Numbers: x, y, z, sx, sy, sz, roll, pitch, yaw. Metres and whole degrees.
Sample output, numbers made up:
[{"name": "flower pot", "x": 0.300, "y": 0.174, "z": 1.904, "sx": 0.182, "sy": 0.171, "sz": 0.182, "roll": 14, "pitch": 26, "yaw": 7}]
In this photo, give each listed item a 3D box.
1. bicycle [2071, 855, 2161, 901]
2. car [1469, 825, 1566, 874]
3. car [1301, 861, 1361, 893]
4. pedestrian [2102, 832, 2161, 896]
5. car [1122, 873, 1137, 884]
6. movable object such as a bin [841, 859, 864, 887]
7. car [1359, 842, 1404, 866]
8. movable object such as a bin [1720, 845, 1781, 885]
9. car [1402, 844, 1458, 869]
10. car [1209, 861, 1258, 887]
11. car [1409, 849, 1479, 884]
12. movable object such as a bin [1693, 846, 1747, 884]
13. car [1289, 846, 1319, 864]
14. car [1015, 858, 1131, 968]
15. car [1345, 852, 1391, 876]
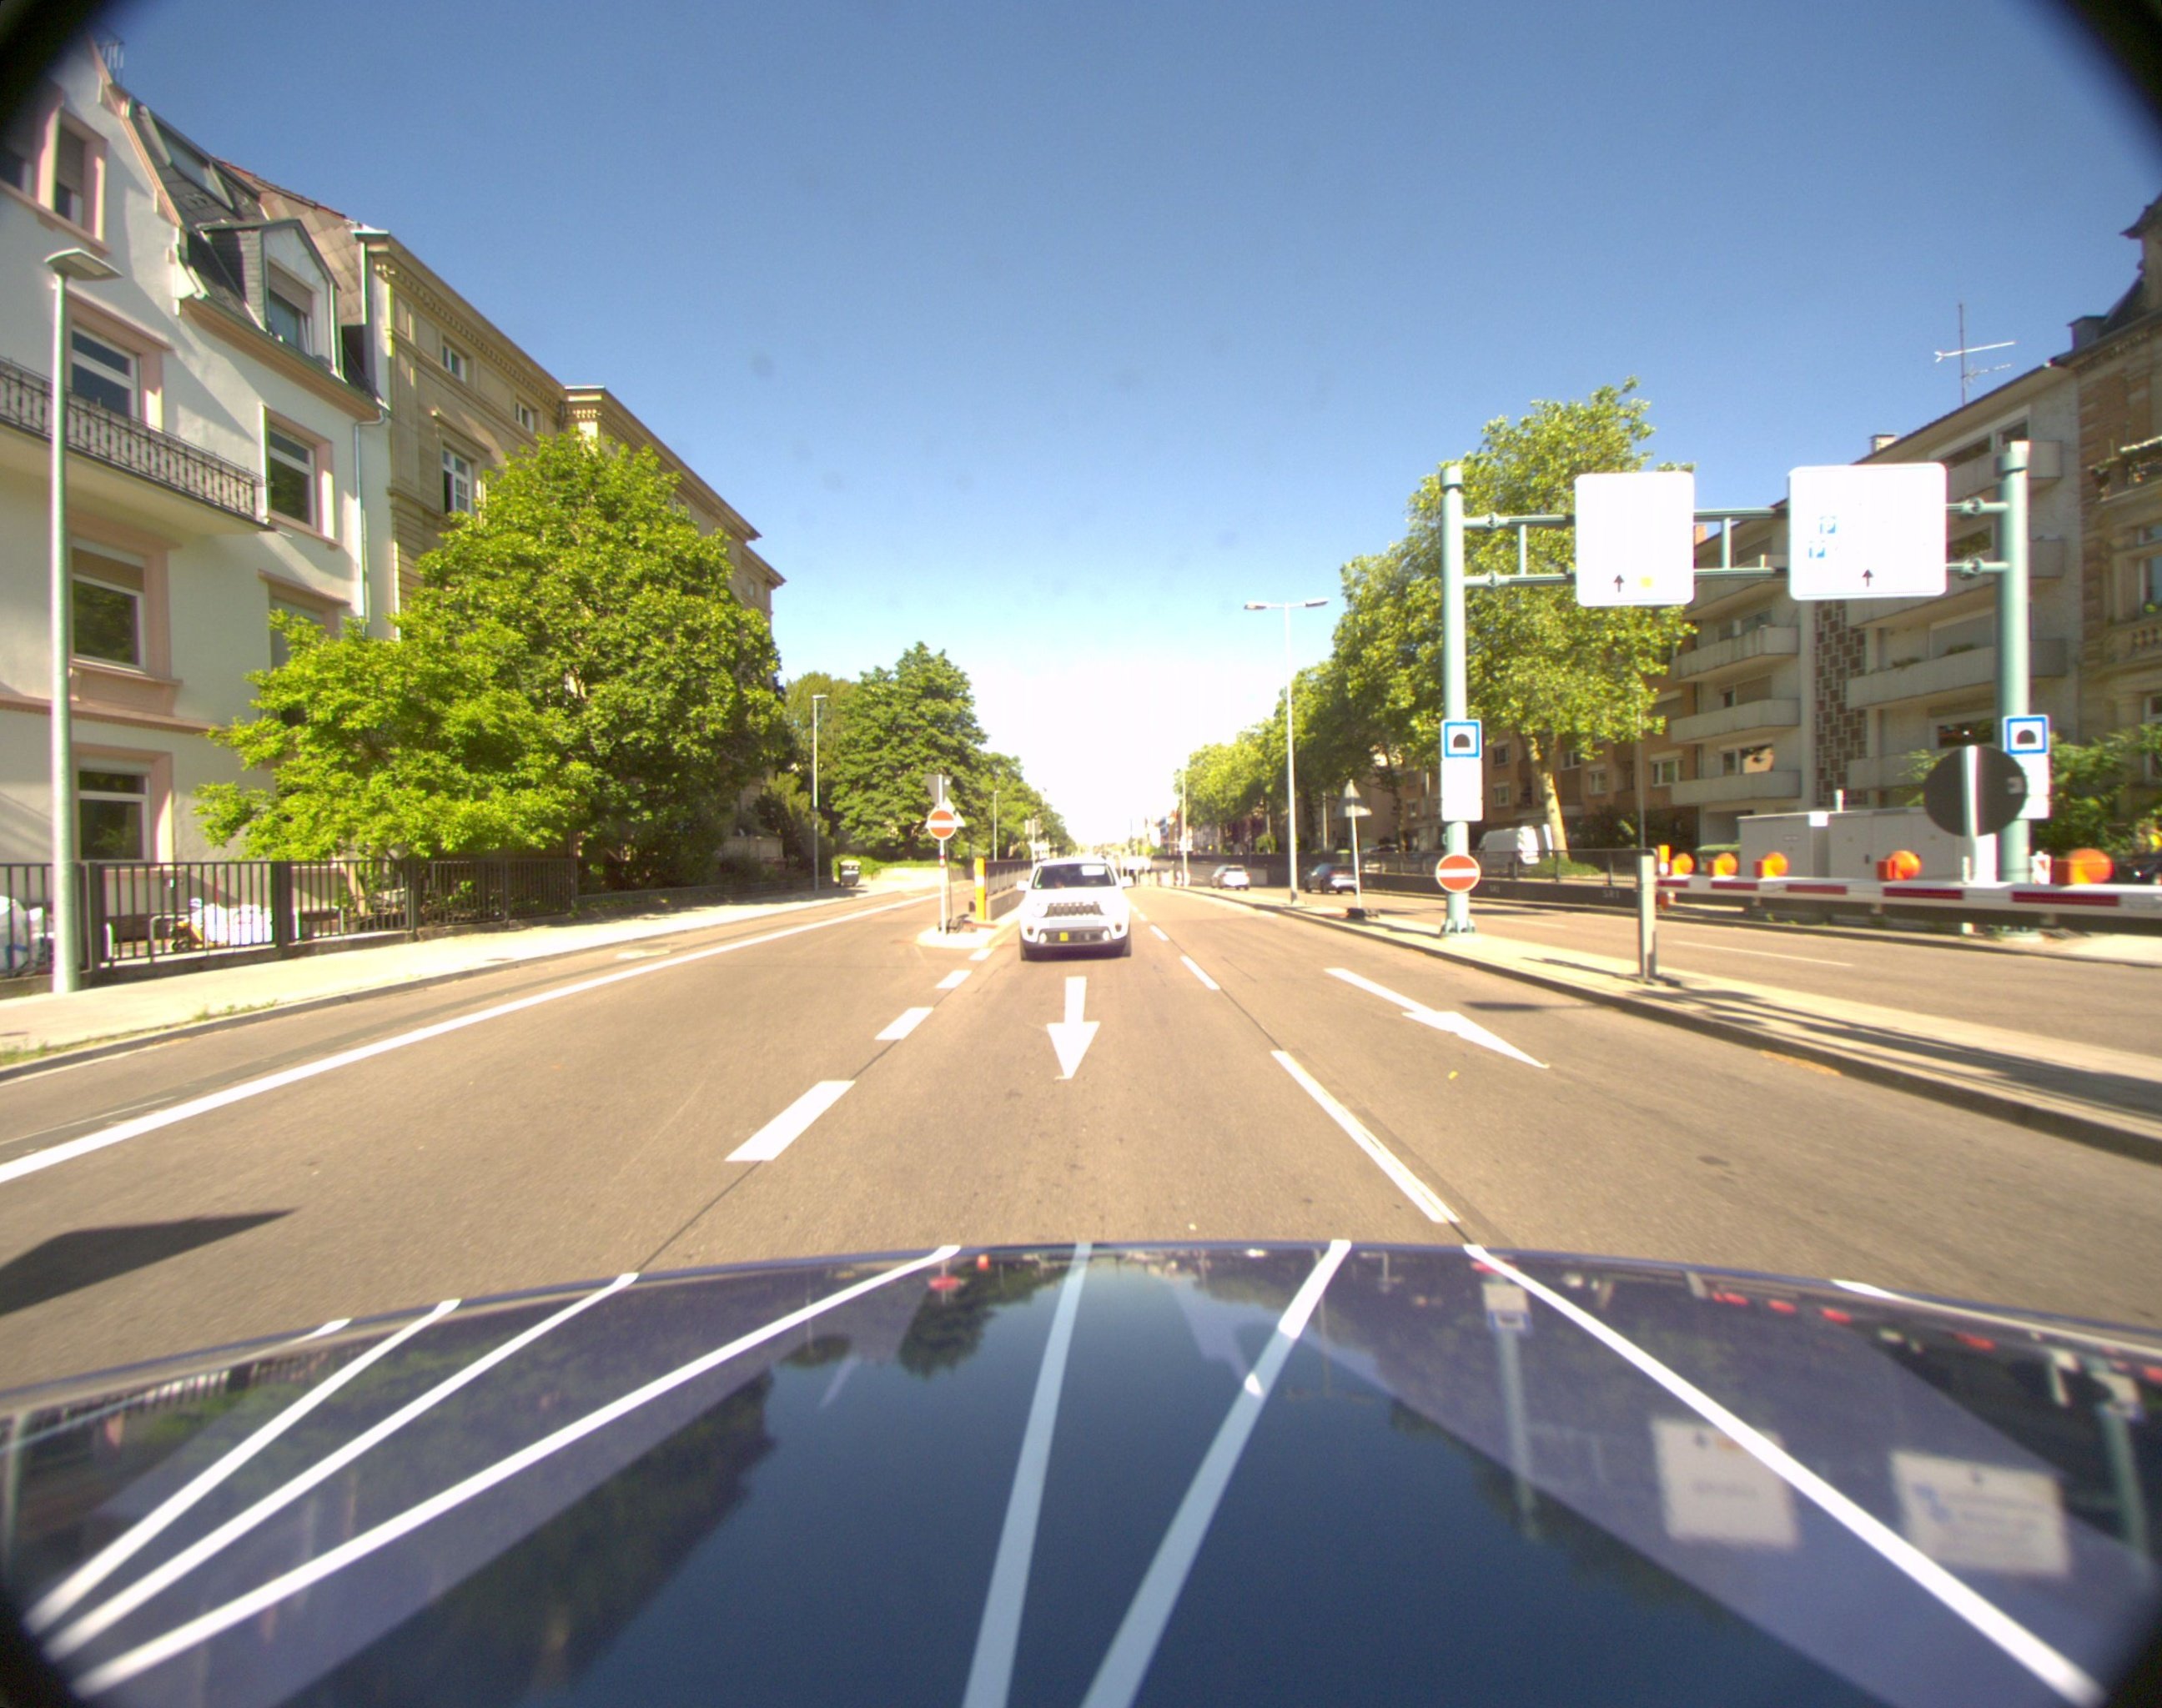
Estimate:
[{"name": "bicycle", "x": 24.000, "y": 0.523, "z": 17.098, "sx": 0.468, "sy": 0.999, "sz": 2.250, "roll": -3, "pitch": 0, "yaw": 0}, {"name": "car", "x": 22.906, "y": -0.166, "z": 40.128, "sx": 2.250, "sy": 2.431, "sz": 5.289, "roll": 0, "pitch": -1, "yaw": 2}, {"name": "car", "x": 12.200, "y": 1.068, "z": 37.325, "sx": 1.611, "sy": 1.432, "sz": 4.311, "roll": 1, "pitch": 0, "yaw": 1}, {"name": "pedestrian", "x": 23.492, "y": 0.212, "z": 16.716, "sx": 0.568, "sy": 1.369, "sz": 1.090, "roll": -2, "pitch": 0, "yaw": 0}, {"name": "car", "x": 9.906, "y": 4.950, "z": 155.780, "sx": 2.449, "sy": 2.073, "sz": 5.637, "roll": -1, "pitch": 1, "yaw": -1}, {"name": "movable object such as a bin", "x": -11.679, "y": 0.960, "z": 38.818, "sx": 0.975, "sy": 1.389, "sz": 1.285, "roll": 1, "pitch": -1, "yaw": -21}, {"name": "car", "x": 23.276, "y": 0.031, "z": 59.027, "sx": 1.998, "sy": 1.742, "sz": 4.001, "roll": -1, "pitch": -1, "yaw": 2}, {"name": "movable object such as a bin", "x": 23.623, "y": 0.391, "z": 26.853, "sx": 0.895, "sy": 1.352, "sz": 1.474, "roll": 0, "pitch": -1, "yaw": 3}, {"name": "car", "x": 23.190, "y": 0.198, "z": 50.639, "sx": 1.998, "sy": 1.570, "sz": 4.001, "roll": 0, "pitch": -1, "yaw": 2}, {"name": "car", "x": 9.140, "y": 1.221, "z": 45.925, "sx": 1.999, "sy": 1.444, "sz": 4.619, "roll": 1, "pitch": -2, "yaw": -1}, {"name": "car", "x": 18.002, "y": 0.662, "z": 37.856, "sx": 1.632, "sy": 1.428, "sz": 3.692, "roll": -3, "pitch": -4, "yaw": 1}, {"name": "movable object such as a bin", "x": 23.723, "y": 0.406, "z": 28.244, "sx": 0.895, "sy": 1.354, "sz": 1.315, "roll": 0, "pitch": -1, "yaw": 1}, {"name": "car", "x": 23.747, "y": 0.108, "z": 81.098, "sx": 1.998, "sy": 1.839, "sz": 4.001, "roll": 0, "pitch": -1, "yaw": 1}, {"name": "car", "x": -0.098, "y": 0.947, "z": 13.554, "sx": 1.744, "sy": 1.647, "sz": 3.690, "roll": -2, "pitch": -1, "yaw": 1}, {"name": "car", "x": 18.710, "y": 0.626, "z": 49.719, "sx": 1.632, "sy": 1.478, "sz": 3.689, "roll": -3, "pitch": 0, "yaw": 1}]
